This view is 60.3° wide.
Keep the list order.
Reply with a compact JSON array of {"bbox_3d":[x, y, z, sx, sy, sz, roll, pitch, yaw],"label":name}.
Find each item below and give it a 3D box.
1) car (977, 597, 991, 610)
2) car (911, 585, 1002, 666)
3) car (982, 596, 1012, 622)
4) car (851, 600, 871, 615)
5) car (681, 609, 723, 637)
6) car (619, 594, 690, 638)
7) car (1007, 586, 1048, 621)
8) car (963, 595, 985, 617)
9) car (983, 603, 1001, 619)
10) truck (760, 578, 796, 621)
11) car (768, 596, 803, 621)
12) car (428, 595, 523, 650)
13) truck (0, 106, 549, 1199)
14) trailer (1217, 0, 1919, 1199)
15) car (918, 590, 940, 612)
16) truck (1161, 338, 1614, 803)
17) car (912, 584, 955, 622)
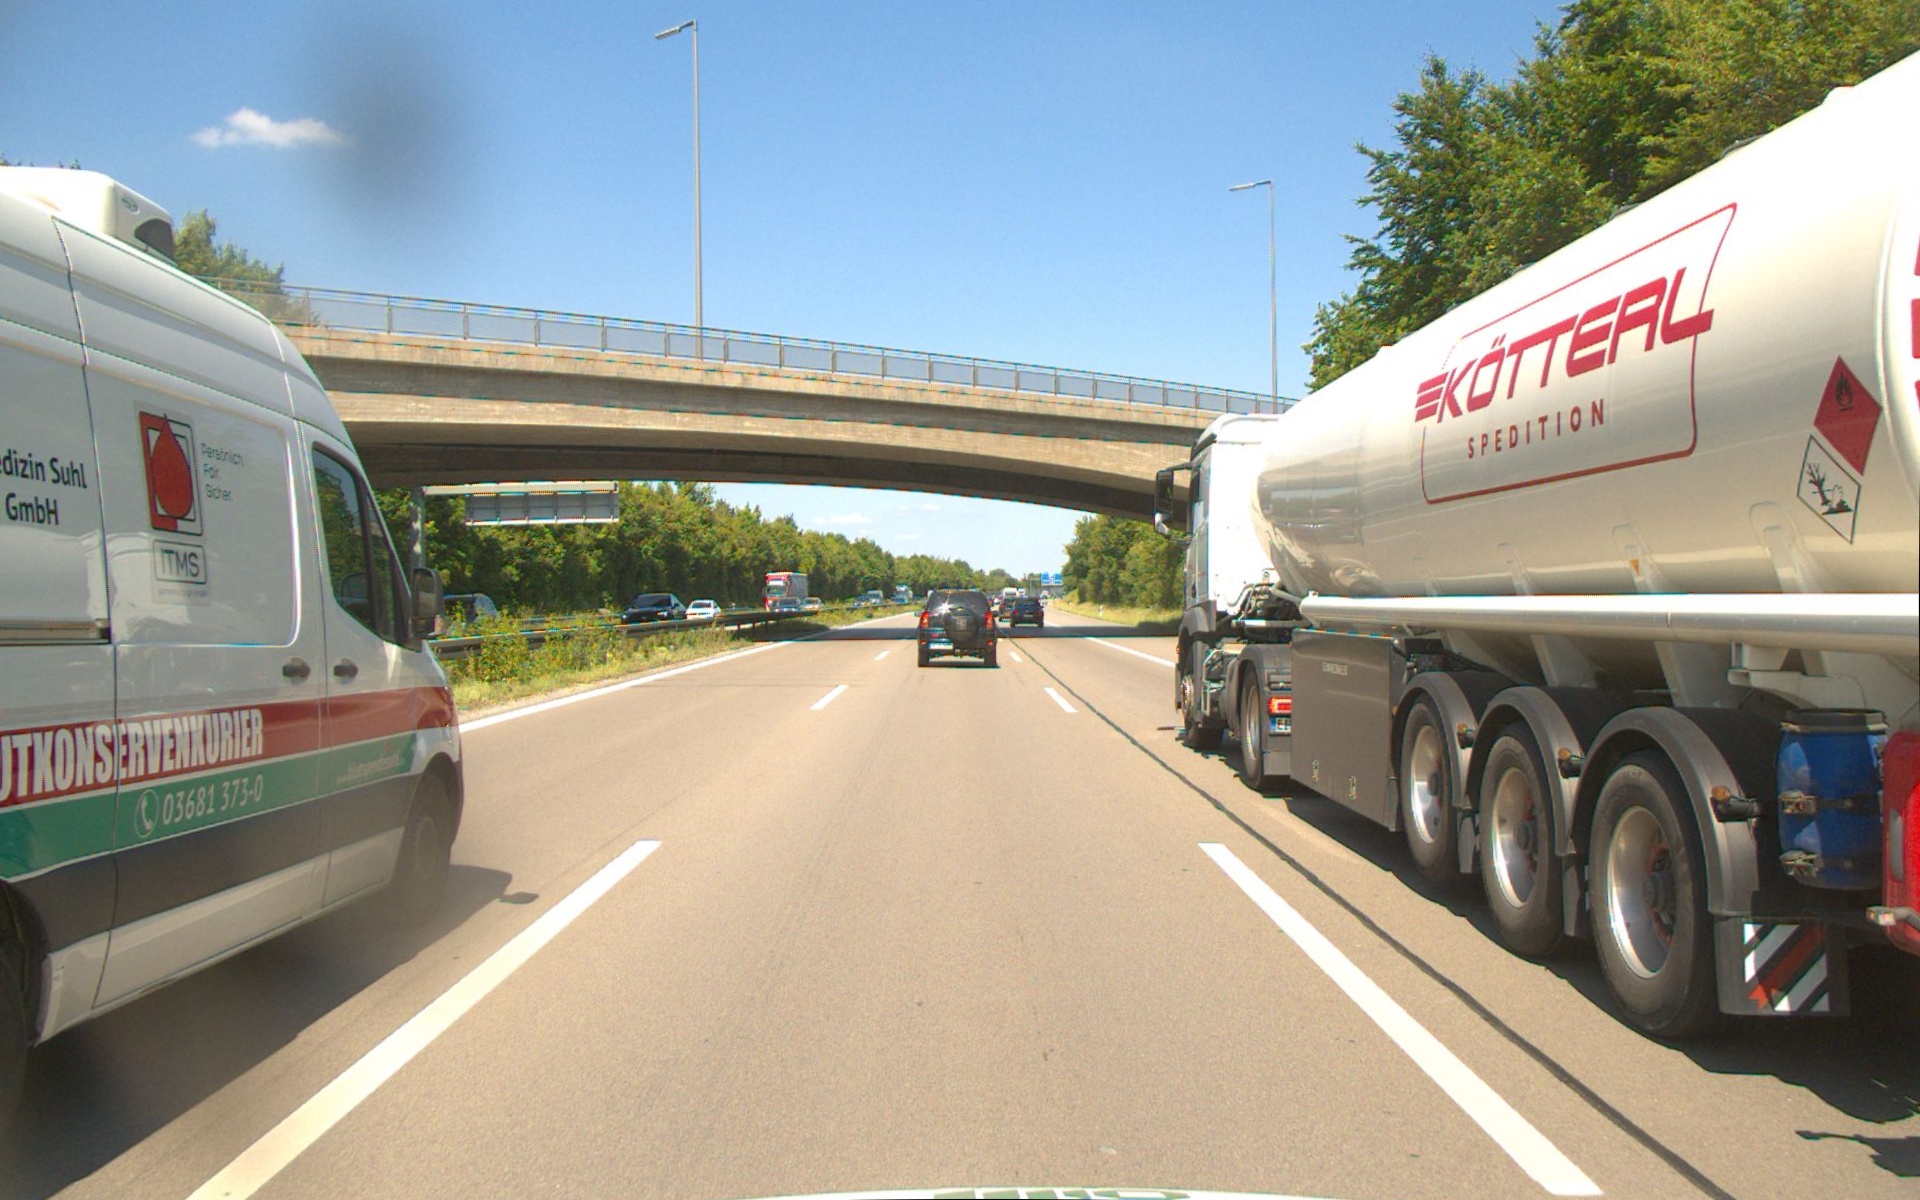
[{"bbox_3d":[3.296,0.436,228.459,1.775,1.777,3.999,-1,0,-1],"label":"car"},{"bbox_3d":[-0.127,0.539,36.804,1.868,1.694,3.998,0,0,-2],"label":"car"},{"bbox_3d":[2.341,0.590,105.313,1.805,1.640,3.999,-1,-1,0],"label":"car"},{"bbox_3d":[-10.372,0.782,173.382,1.843,1.509,4.434,-1,0,0],"label":"car"},{"bbox_3d":[-15.230,1.327,97.816,1.822,1.554,4.213,-1,0,0],"label":"car"},{"bbox_3d":[-11.535,0.577,62.697,1.822,1.554,4.750,-1,0,0],"label":"car"},{"bbox_3d":[3.479,0.195,85.722,1.952,1.713,4.000,-1,-1,0],"label":"car"},{"bbox_3d":[1.343,0.581,160.846,1.953,2.049,4.767,-1,0,-1],"label":"car"},{"bbox_3d":[3.750,1.288,195.274,1.953,1.780,4.204,-1,0,-1],"label":"car"},{"bbox_3d":[-18.478,-0.079,168.342,2.728,4.131,6.210,-2,0,1],"label":"truck"},{"bbox_3d":[-11.089,0.519,105.518,1.738,1.499,4.419,-3,0,-1],"label":"car"},{"bbox_3d":[-15.231,0.716,52.144,1.861,1.669,3.999,0,-1,-1],"label":"car"},{"bbox_3d":[-3.233,0.123,5.693,1.953,2.587,6.691,1,0,0],"label":"truck"},{"bbox_3d":[3.622,-0.201,8.921,2.594,3.449,11.150,0,0,-1],"label":"trailer"},{"bbox_3d":[-2.988,0.115,161.002,1.952,2.049,4.950,-1,0,1],"label":"car"},{"bbox_3d":[3.579,-0.223,15.545,2.584,3.434,6.487,1,0,0],"label":"truck"},{"bbox_3d":[-1.245,0.157,80.141,1.952,1.736,4.336,-1,0,1],"label":"car"}]
